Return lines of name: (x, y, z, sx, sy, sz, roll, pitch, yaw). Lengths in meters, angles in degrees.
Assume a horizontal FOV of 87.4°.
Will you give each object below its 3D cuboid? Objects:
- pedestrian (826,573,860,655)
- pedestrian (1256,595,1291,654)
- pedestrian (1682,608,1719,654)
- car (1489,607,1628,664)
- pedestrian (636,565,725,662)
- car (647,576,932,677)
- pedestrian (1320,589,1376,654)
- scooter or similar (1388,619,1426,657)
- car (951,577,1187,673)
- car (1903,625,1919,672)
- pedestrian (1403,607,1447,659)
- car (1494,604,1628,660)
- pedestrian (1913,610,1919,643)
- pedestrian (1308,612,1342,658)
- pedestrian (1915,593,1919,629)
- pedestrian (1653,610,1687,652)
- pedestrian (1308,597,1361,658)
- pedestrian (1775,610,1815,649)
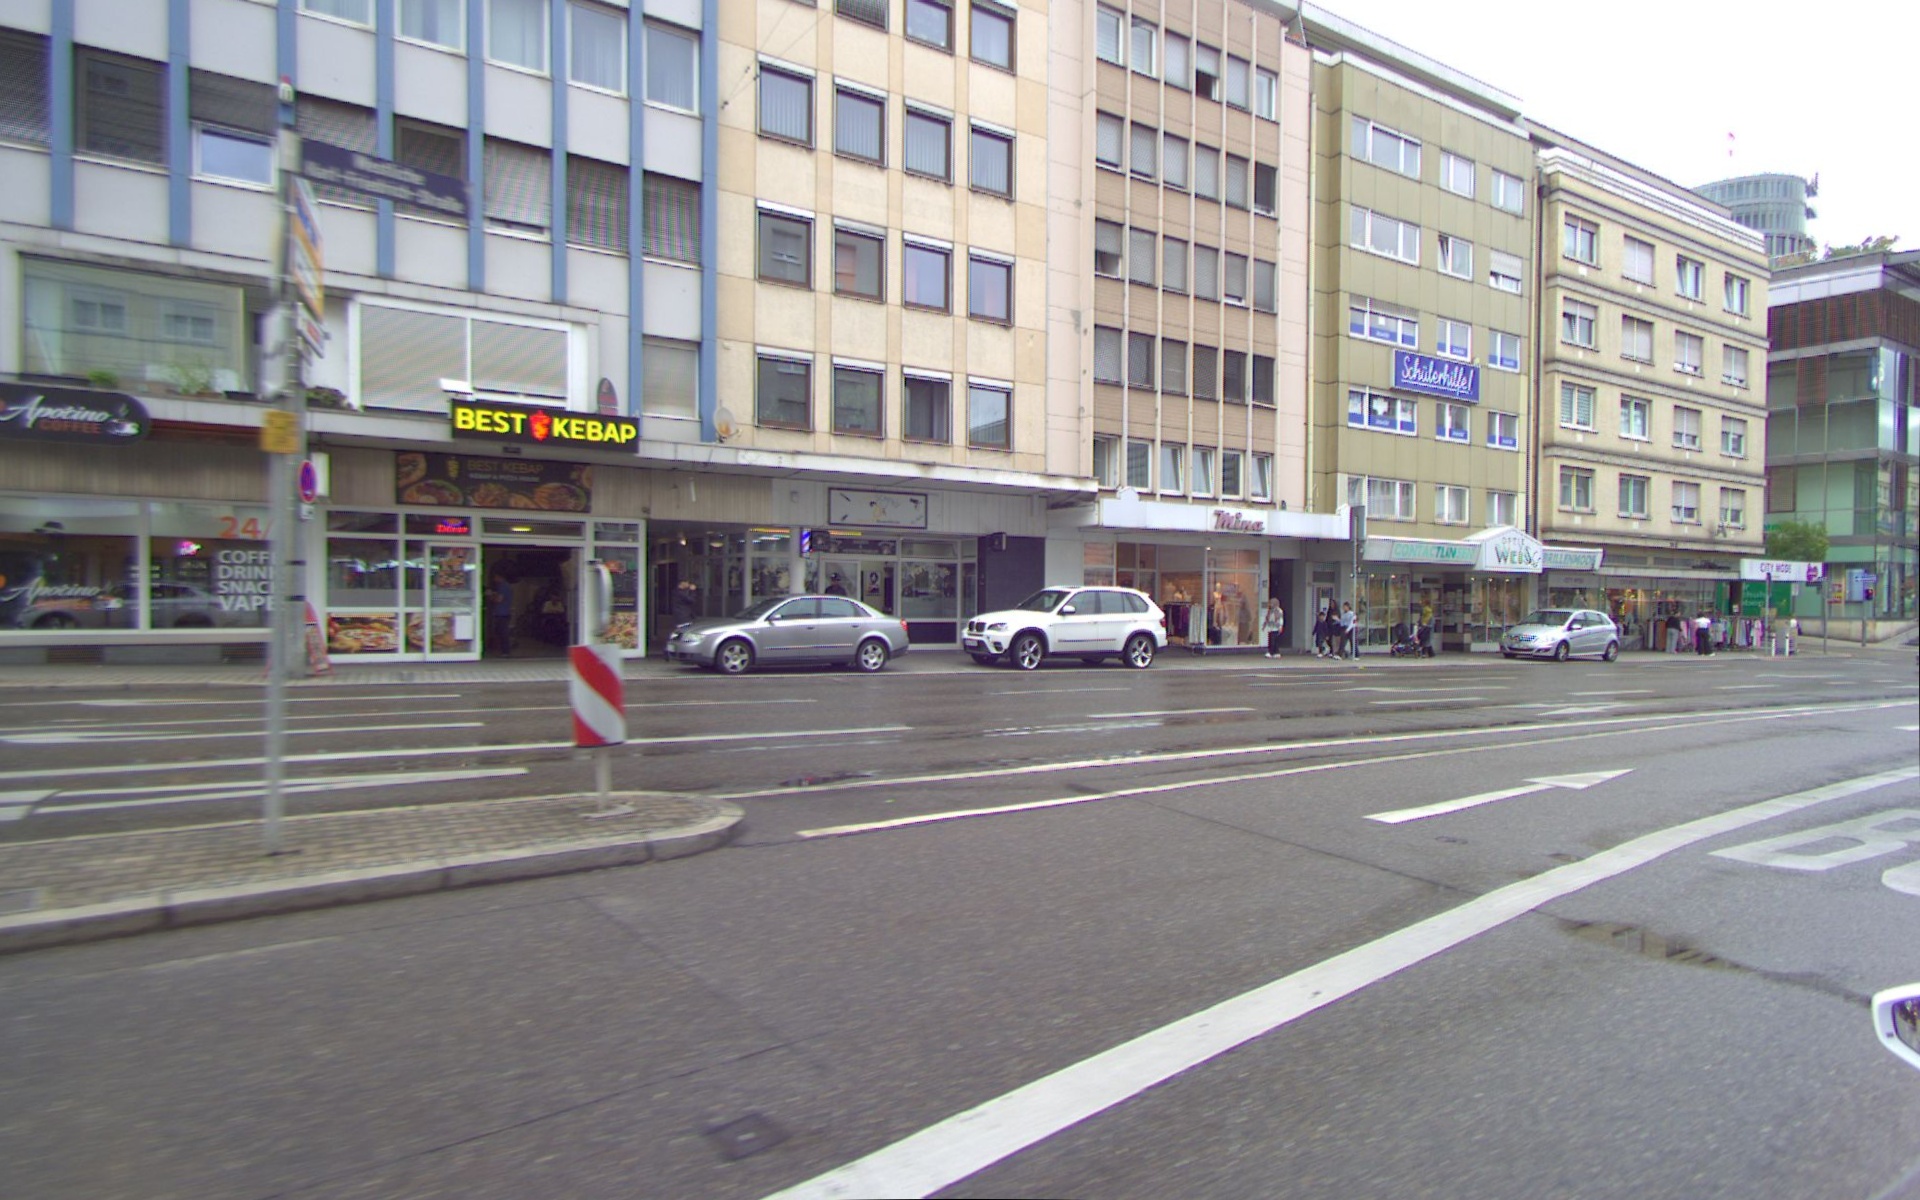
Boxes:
pedestrian: (-2.521, 0.295, 21.610, 0.577, 1.731, 0.443, 0, 3, -29)
pedestrian: (8.632, 0.680, 27.647, 0.605, 1.595, 0.639, 1, 1, -30)
pedestrian: (28.029, 1.158, 38.035, 0.828, 1.650, 0.775, 3, 2, 17)
car: (18.729, 1.055, 31.385, 4.349, 1.571, 1.838, 0, 3, -31)
pedestrian: (-5.283, 0.235, 18.945, 1.403, 1.741, 0.947, 0, 3, -32)
car: (-3.095, 0.469, 18.528, 4.821, 1.630, 1.856, 1, 1, -30)
pedestrian: (10.876, 0.590, 28.147, 1.078, 1.737, 0.947, 0, 3, -31)
scooter or similar: (13.297, 1.127, 29.911, 0.693, 1.068, 0.732, 0, 3, -31)
car: (2.402, 0.527, 21.777, 4.904, 1.852, 1.840, 1, 1, -30)
car: (32.934, 1.649, 31.393, 4.663, 1.465, 1.790, 3, 1, 24)
pedestrian: (14.052, 0.979, 30.358, 1.053, 1.504, 0.663, 0, 3, -32)
car: (18.796, 0.994, 31.373, 4.150, 1.584, 1.692, 1, 1, -29)
pedestrian: (50.146, 1.399, 51.733, 0.988, 1.736, 1.042, 2, 1, -2)
pedestrian: (10.485, 0.992, 28.849, 0.712, 1.266, 0.531, 0, 3, -31)
pedestrian: (54.258, 0.616, 56.201, 0.963, 2.007, 0.876, 1, 2, -30)
pedestrian: (27.487, 1.193, 38.890, 0.674, 1.557, 0.780, 1, 2, -32)
pedestrian: (11.012, 0.791, 29.577, 1.074, 1.718, 0.947, 0, 3, -31)
pedestrian: (35.549, 1.273, 42.769, 1.139, 1.607, 0.868, 1, 1, -27)
